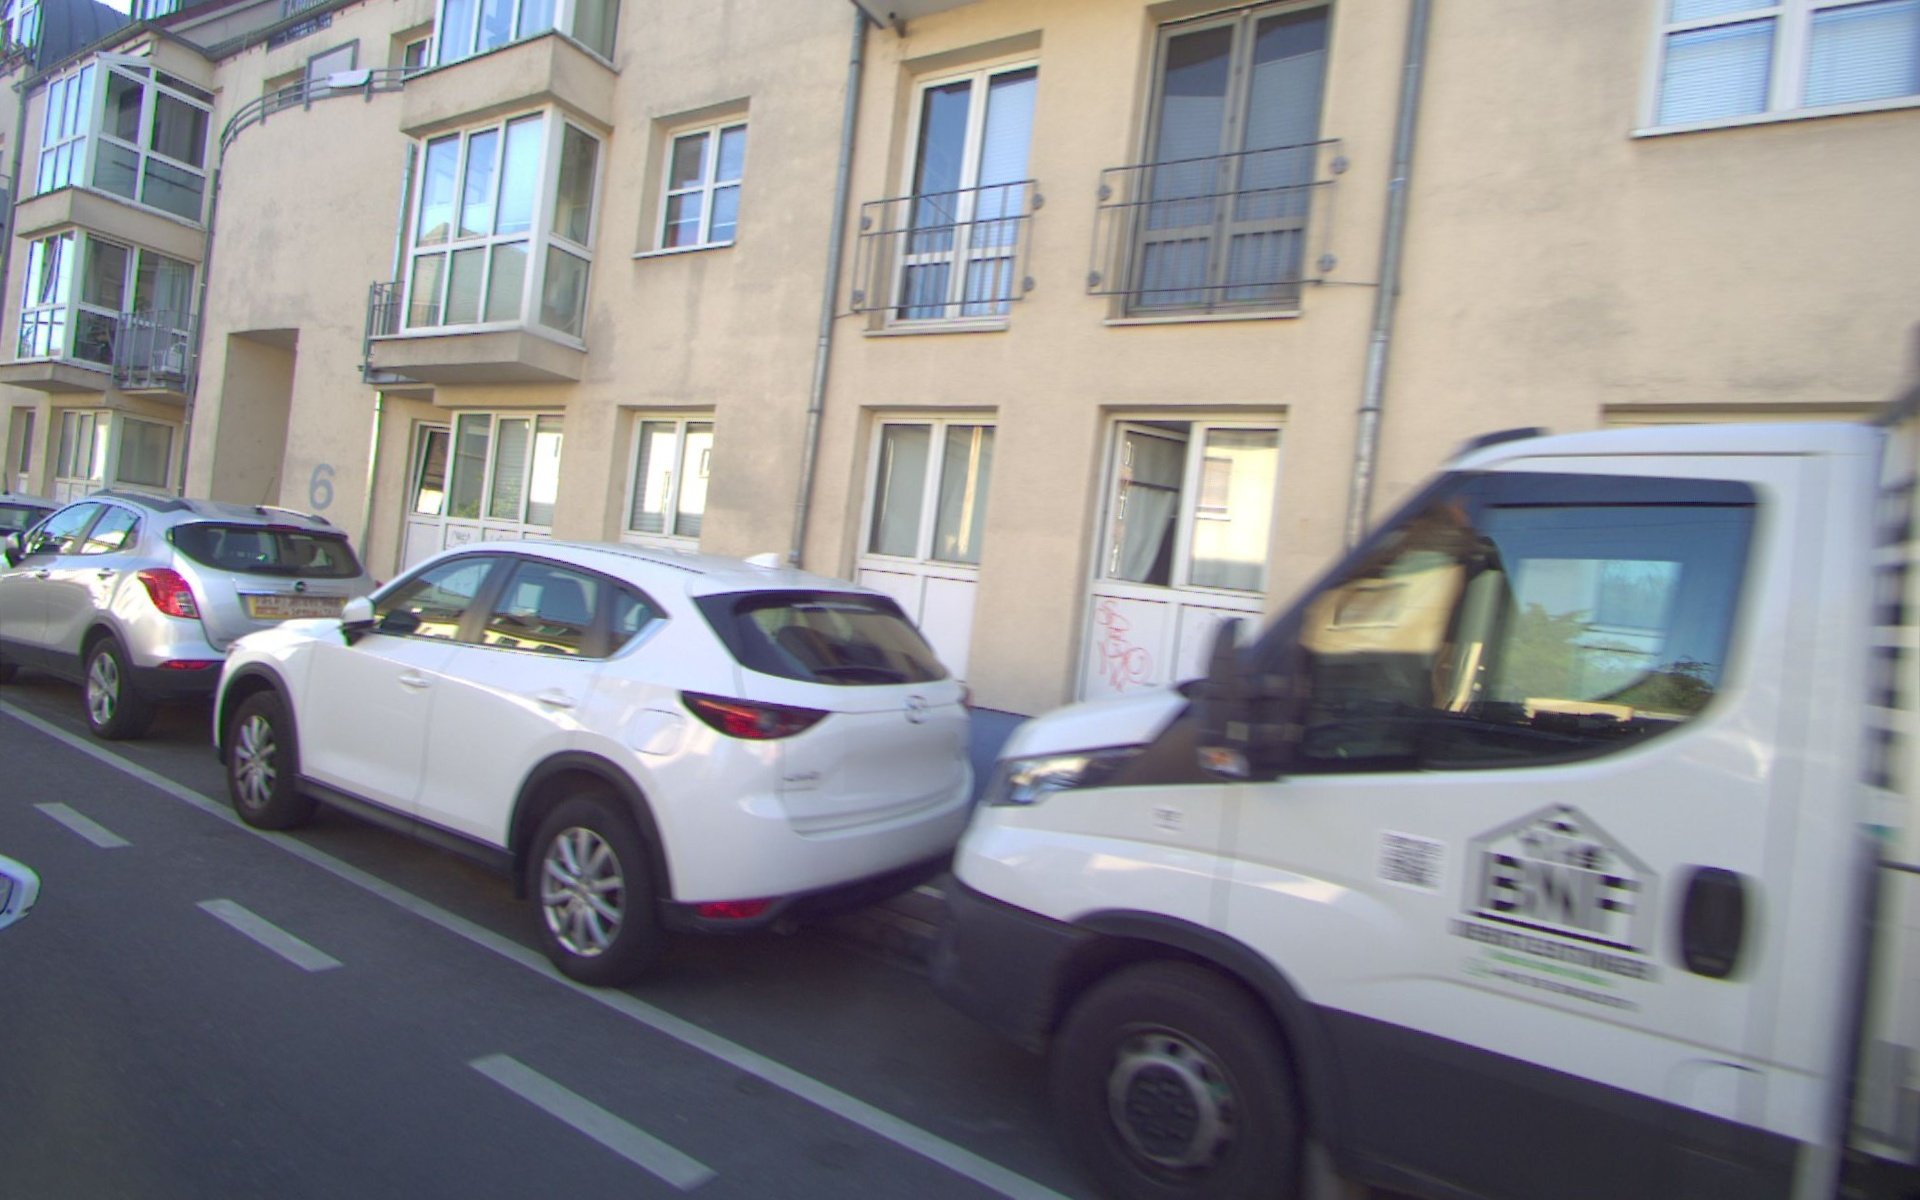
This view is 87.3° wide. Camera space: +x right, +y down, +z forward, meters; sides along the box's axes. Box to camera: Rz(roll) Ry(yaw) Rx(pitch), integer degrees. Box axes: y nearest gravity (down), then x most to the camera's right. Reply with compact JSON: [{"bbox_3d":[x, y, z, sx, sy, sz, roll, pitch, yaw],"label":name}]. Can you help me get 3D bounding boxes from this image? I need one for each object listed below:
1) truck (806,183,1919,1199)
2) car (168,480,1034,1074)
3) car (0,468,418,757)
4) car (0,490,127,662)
[{"bbox_3d":[2.813,0.663,2.394,6.045,2.507,2.298,7,0,32],"label":"truck"},{"bbox_3d":[-1.972,0.525,5.087,4.185,1.766,1.743,7,-2,32],"label":"car"},{"bbox_3d":[-6.321,0.015,8.005,3.923,1.719,1.606,7,-2,31],"label":"car"},{"bbox_3d":[-10.429,-0.401,10.525,3.308,1.575,1.500,7,-2,31],"label":"car"}]
